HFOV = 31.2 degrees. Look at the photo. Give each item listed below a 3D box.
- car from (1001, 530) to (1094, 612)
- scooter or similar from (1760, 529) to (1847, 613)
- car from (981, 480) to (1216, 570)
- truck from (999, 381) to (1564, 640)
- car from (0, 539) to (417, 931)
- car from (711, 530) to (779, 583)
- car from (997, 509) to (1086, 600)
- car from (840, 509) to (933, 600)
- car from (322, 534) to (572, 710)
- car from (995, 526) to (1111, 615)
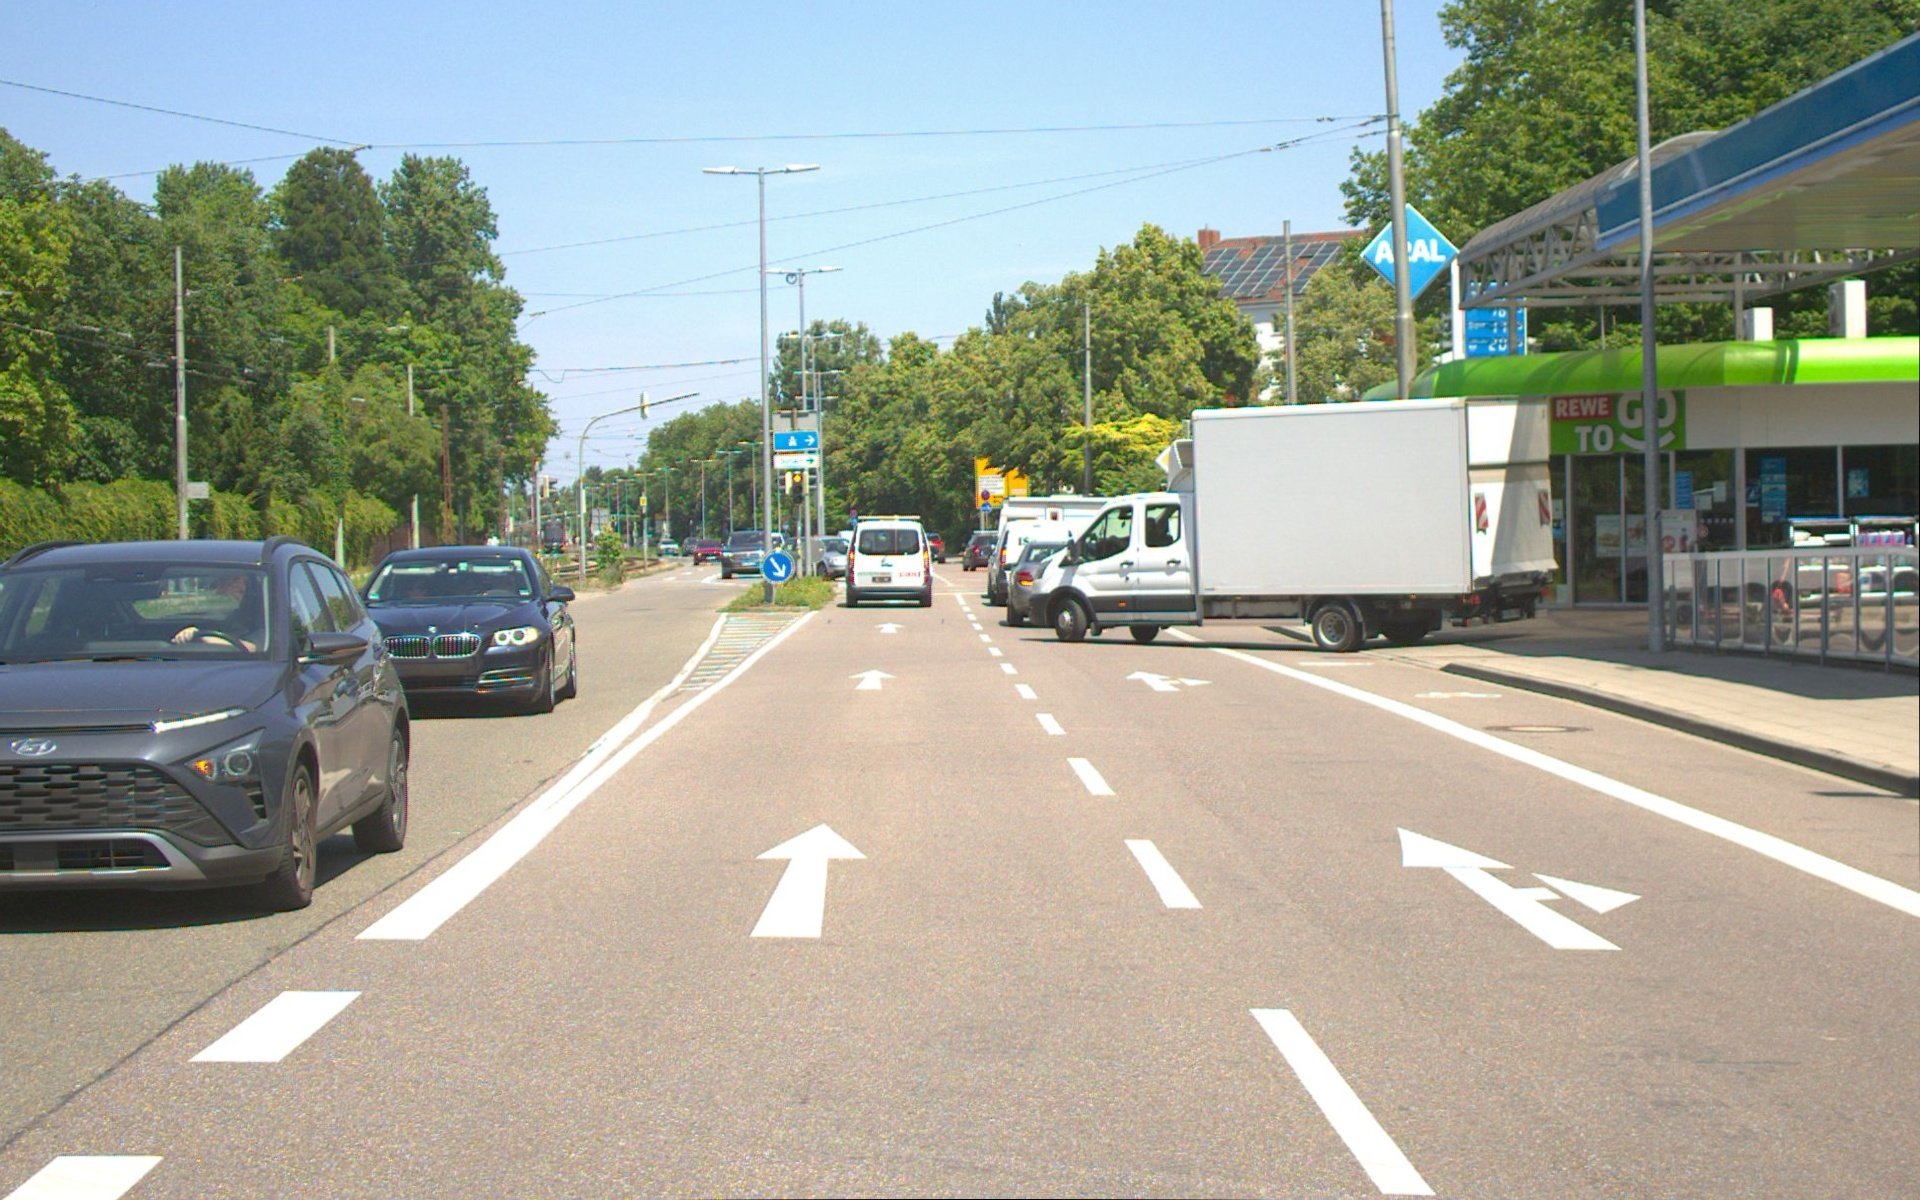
[{"bbox_3d":[1.578,-0.553,62.920,1.607,1.446,3.521,0,1,0],"label":"car"},{"bbox_3d":[12.053,-0.416,49.138,1.135,1.172,0.384,-1,1,0],"label":"scooter or similar"},{"bbox_3d":[4.008,-2.160,99.459,6.209,2.508,2.701,0,1,24],"label":"car"},{"bbox_3d":[4.391,-1.208,48.273,7.825,3.380,2.422,0,2,39],"label":"truck"},{"bbox_3d":[-3.502,0.469,14.785,1.713,1.417,4.142,-1,1,-1],"label":"car"},{"bbox_3d":[-7.804,-1.595,124.435,1.993,1.822,4.541,-1,1,-9],"label":"car"},{"bbox_3d":[1.684,-0.970,72.138,1.710,1.824,4.014,-1,1,-1],"label":"car"},{"bbox_3d":[-1.539,-0.951,71.221,1.866,1.829,3.849,0,1,-2],"label":"car"},{"bbox_3d":[-4.422,0.134,30.200,1.793,1.394,4.449,-1,1,-4],"label":"car"},{"bbox_3d":[1.532,-0.523,57.796,1.770,1.415,4.000,-1,1,-1],"label":"car"}]
